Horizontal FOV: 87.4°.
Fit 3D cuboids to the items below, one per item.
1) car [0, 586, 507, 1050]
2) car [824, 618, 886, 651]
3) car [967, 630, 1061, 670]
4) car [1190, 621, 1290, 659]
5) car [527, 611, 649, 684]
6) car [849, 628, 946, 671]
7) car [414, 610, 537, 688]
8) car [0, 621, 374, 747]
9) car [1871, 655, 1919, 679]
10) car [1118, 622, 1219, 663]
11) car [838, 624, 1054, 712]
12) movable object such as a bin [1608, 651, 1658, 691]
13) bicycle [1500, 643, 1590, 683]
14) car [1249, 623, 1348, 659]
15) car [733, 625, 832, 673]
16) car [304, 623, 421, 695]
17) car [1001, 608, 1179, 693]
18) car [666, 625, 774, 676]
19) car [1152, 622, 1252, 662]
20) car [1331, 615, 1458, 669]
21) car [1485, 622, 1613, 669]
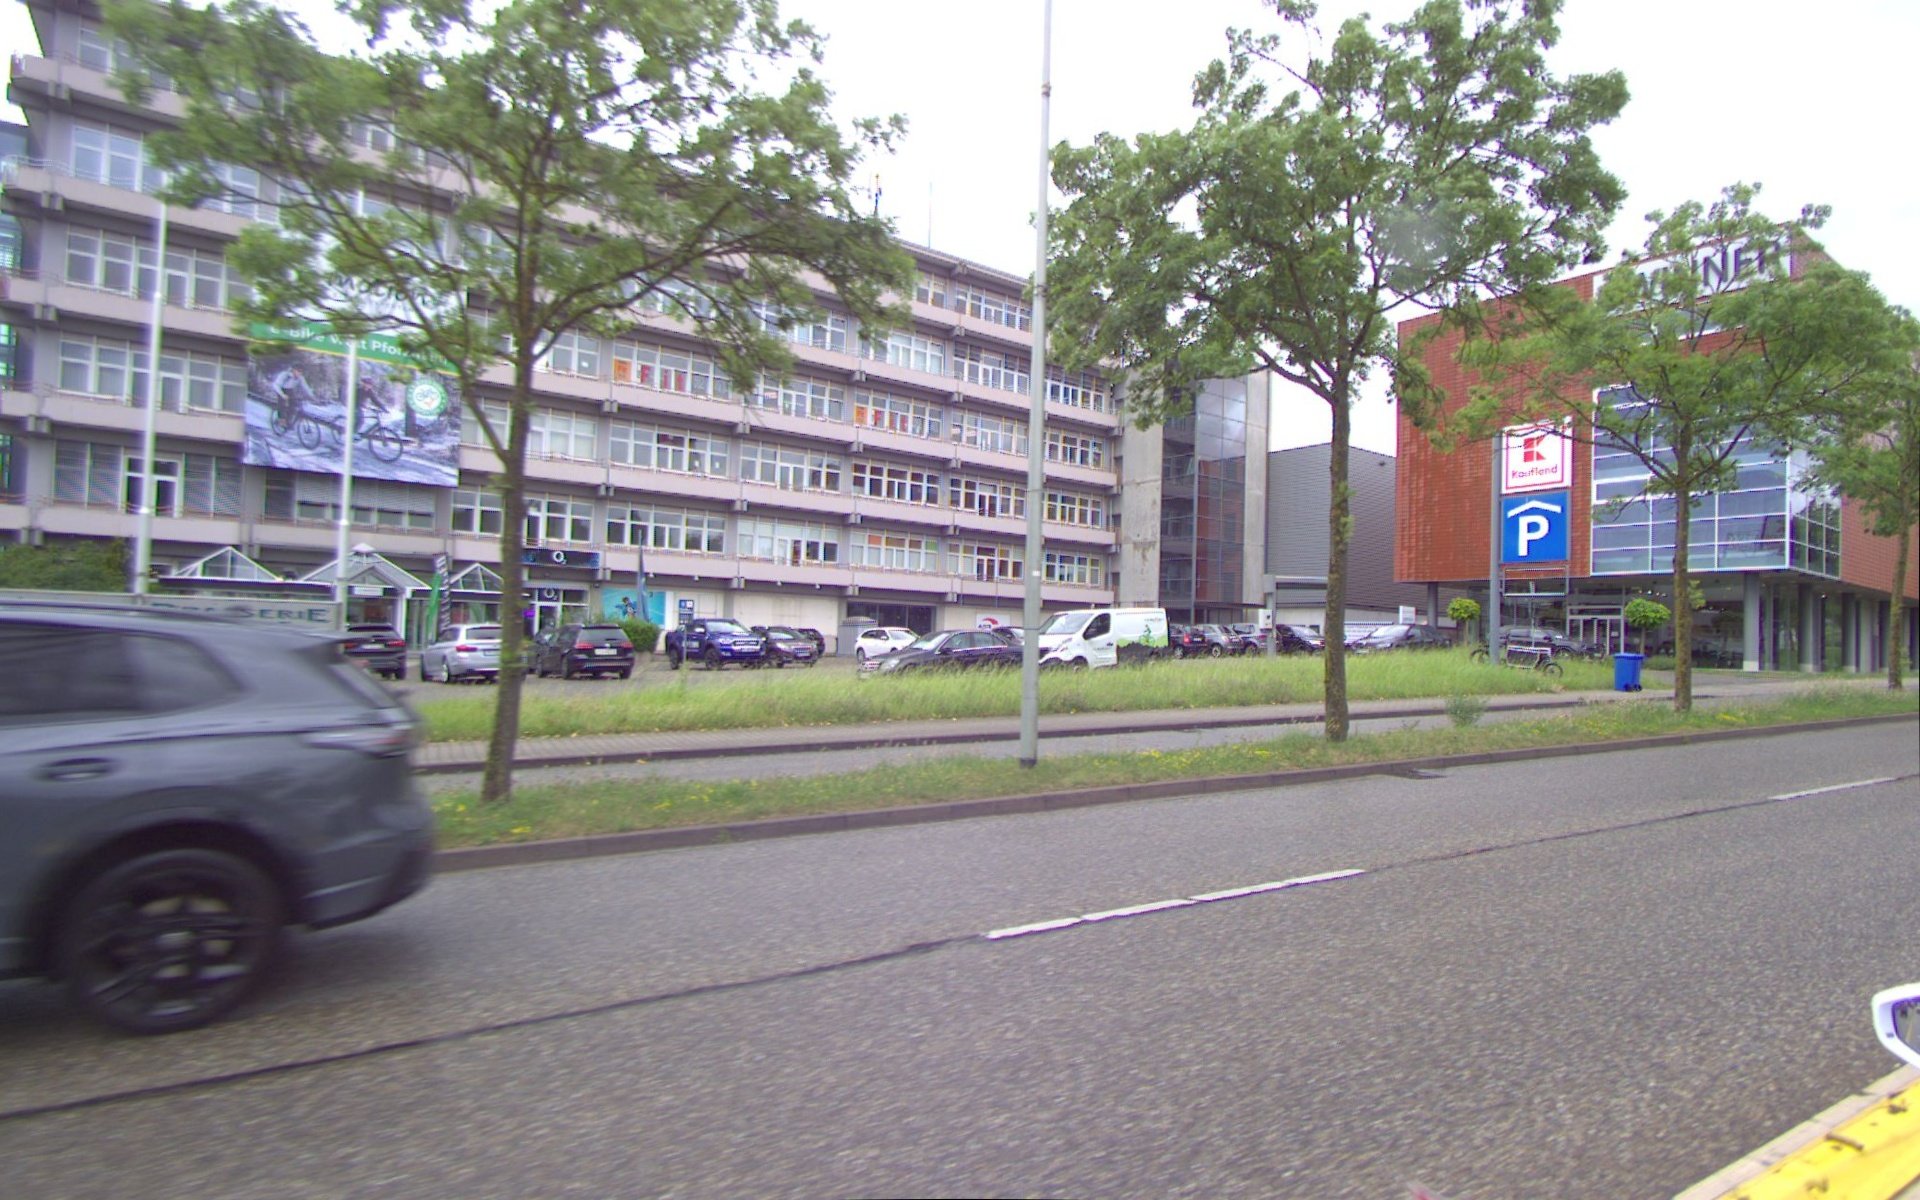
[{"bbox_3d":[-4.325,0.803,4.063,4.384,1.635,1.779,2,-4,-30],"label":"car"},{"bbox_3d":[-6.093,1.976,58.050,1.783,1.755,3.958,0,0,-37],"label":"car"},{"bbox_3d":[2.334,2.144,44.284,1.831,1.530,4.242,0,0,-38],"label":"car"},{"bbox_3d":[12.636,1.753,45.500,1.803,1.530,4.158,0,0,-38],"label":"car"},{"bbox_3d":[-10.279,1.210,27.565,1.883,1.769,4.464,0,0,-38],"label":"car"},{"bbox_3d":[-2.568,1.946,40.501,1.831,1.530,4.242,0,0,-38],"label":"car"},{"bbox_3d":[-12.604,1.166,25.965,1.949,1.769,4.563,0,0,-38],"label":"car"},{"bbox_3d":[-12.019,1.196,15.823,4.665,1.630,1.920,0,0,-36],"label":"car"},{"bbox_3d":[60.714,4.309,64.102,1.501,1.301,3.523,2,0,-27],"label":"car"},{"bbox_3d":[8.834,1.760,42.837,1.803,1.530,4.077,0,0,-38],"label":"car"},{"bbox_3d":[-0.282,1.516,23.980,4.894,1.785,2.027,0,0,-34],"label":"car"},{"bbox_3d":[19.472,2.052,29.081,1.073,1.093,0.815,1,0,-30],"label":"movable object such as a bin"},{"bbox_3d":[17.615,1.886,30.308,1.079,0.948,2.069,2,3,-26],"label":"bicycle"},{"bbox_3d":[16.158,1.934,48.058,1.884,1.530,4.158,0,0,-38],"label":"car"},{"bbox_3d":[-6.620,1.772,37.182,1.929,1.530,4.145,0,0,-38],"label":"car"},{"bbox_3d":[-17.257,1.610,28.901,2.117,1.769,4.558,0,0,-41],"label":"car"},{"bbox_3d":[3.714,1.319,28.122,5.079,2.124,2.096,0,0,-40],"label":"car"},{"bbox_3d":[-8.498,1.705,35.330,2.007,1.530,4.574,0,0,-38],"label":"car"},{"bbox_3d":[10.592,1.807,44.192,1.803,1.530,4.077,0,0,-38],"label":"car"},{"bbox_3d":[15.939,1.471,36.808,4.558,1.797,2.125,0,0,-33],"label":"car"},{"bbox_3d":[24.054,1.842,41.122,4.222,1.704,1.790,1,-2,43],"label":"car"}]
